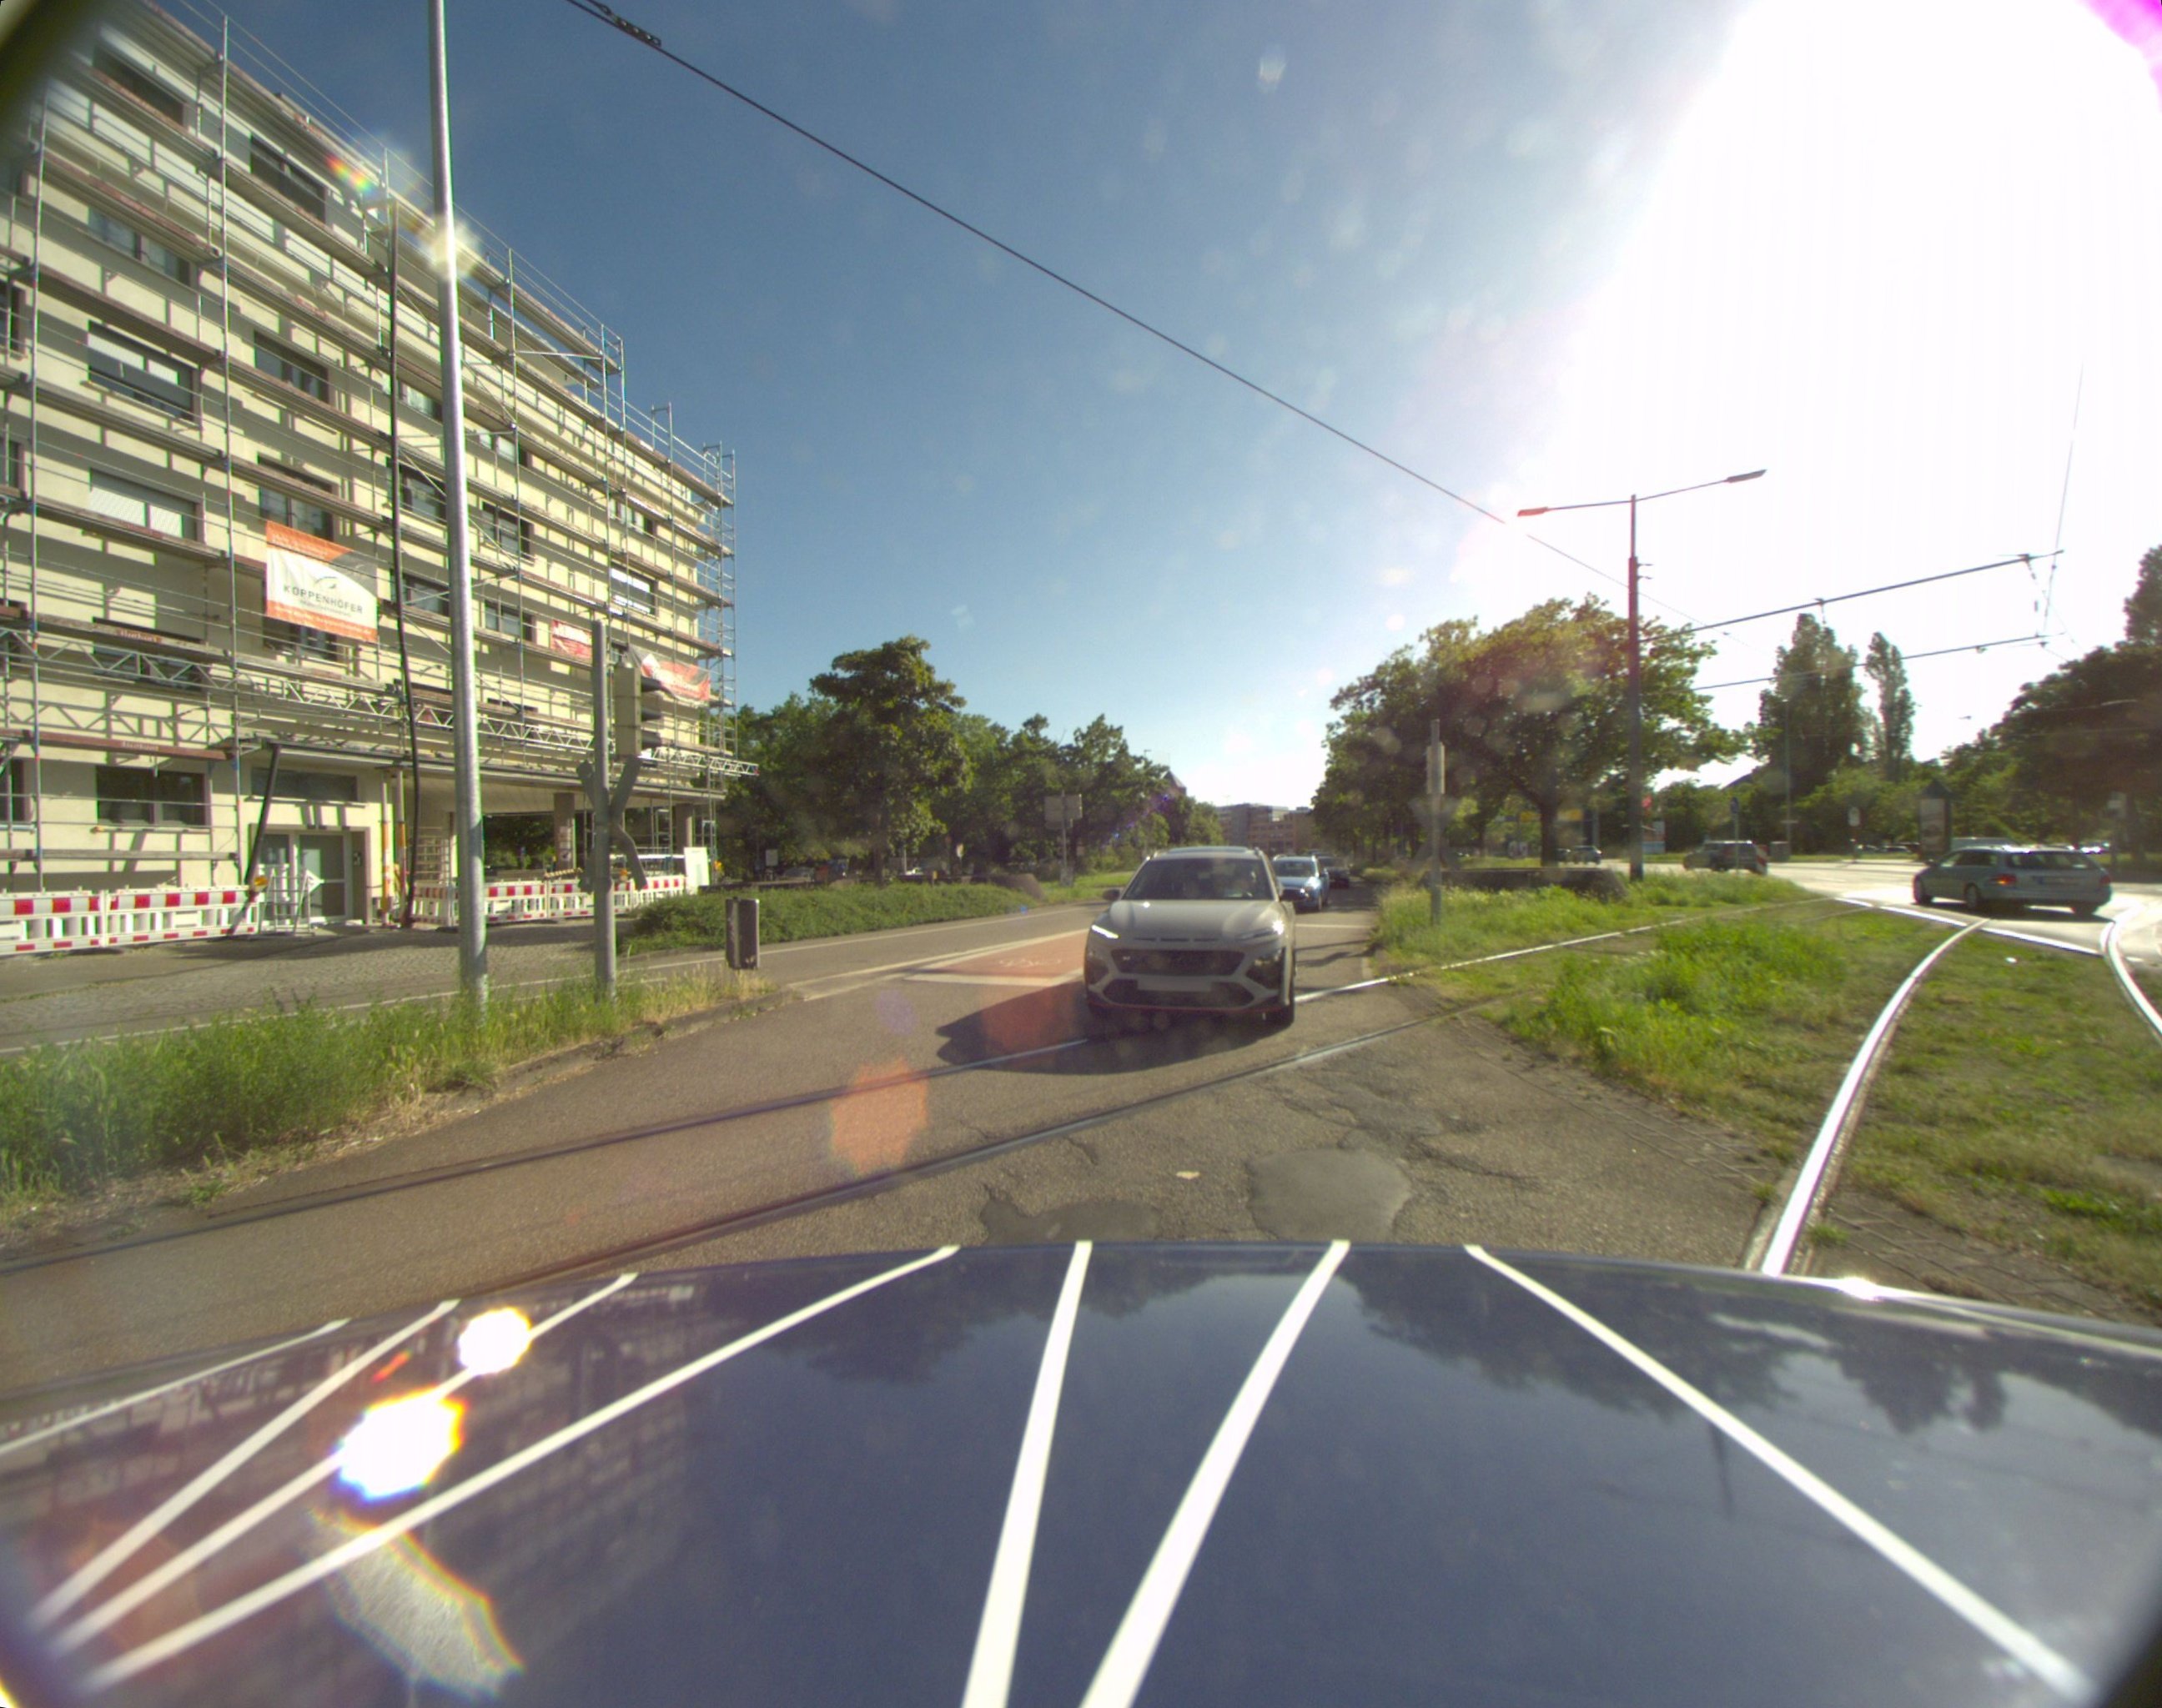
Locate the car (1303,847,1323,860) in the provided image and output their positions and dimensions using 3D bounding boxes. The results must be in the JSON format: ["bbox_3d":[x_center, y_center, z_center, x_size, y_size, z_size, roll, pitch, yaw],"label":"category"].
[{"bbox_3d":[28.302,-0.085,92.626,1.742,1.539,4.007,-3,0,25],"label":"car"}]

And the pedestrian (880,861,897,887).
[{"bbox_3d":[-11.432,1.192,45.155,0.651,1.488,0.909,-1,0,7],"label":"pedestrian"}]

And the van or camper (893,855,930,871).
[{"bbox_3d":[-21.118,1.116,94.817,2.454,1.902,5.332,-1,0,11],"label":"van or camper"}]

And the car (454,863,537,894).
[{"bbox_3d":[-42.565,1.743,55.397,1.996,2.061,4.357,-1,0,18],"label":"car"}]

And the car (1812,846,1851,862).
[{"bbox_3d":[68.343,-0.021,69.249,1.817,1.440,4.008,-1,0,35],"label":"car"}]

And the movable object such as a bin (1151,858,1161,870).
[{"bbox_3d":[6.533,0.874,66.101,0.727,1.024,0.579,-1,0,15],"label":"movable object such as a bin"}]

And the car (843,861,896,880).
[{"bbox_3d":[-16.256,1.268,58.444,3.582,1.307,1.624,-1,2,10],"label":"car"}]

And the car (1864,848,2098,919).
[{"bbox_3d":[20.695,0.613,17.803,1.730,1.433,4.892,-3,-1,27],"label":"car"}]

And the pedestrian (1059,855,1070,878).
[{"bbox_3d":[-1.168,0.899,54.776,0.623,1.625,0.552,-1,1,16],"label":"pedestrian"}]

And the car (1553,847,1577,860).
[{"bbox_3d":[52.450,-0.067,82.374,1.664,1.440,4.409,-1,0,25],"label":"car"}]

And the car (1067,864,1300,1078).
[{"bbox_3d":[1.315,0.916,7.863,1.778,1.542,3.985,-1,0,16],"label":"car"}]

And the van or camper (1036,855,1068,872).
[{"bbox_3d":[-3.256,1.044,87.497,2.454,1.902,5.332,-1,0,11],"label":"van or camper"}]

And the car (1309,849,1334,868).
[{"bbox_3d":[18.688,0.302,58.876,1.779,1.397,4.005,-1,0,19],"label":"car"}]

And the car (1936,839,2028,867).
[{"bbox_3d":[67.703,-0.099,57.135,5.000,2.002,2.237,-1,0,-10],"label":"car"}]

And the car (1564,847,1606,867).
[{"bbox_3d":[42.367,0.221,63.966,1.995,1.553,4.393,-1,0,20],"label":"car"}]

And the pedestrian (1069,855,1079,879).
[{"bbox_3d":[-0.485,0.929,55.062,0.603,1.690,0.410,-1,1,15],"label":"pedestrian"}]

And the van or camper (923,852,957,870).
[{"bbox_3d":[-17.420,0.841,94.157,2.455,2.146,5.331,-1,0,10],"label":"van or camper"}]

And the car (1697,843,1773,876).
[{"bbox_3d":[33.485,0.250,39.059,1.754,1.604,4.731,-1,0,25],"label":"car"}]

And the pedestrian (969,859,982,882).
[{"bbox_3d":[-7.357,1.148,53.002,0.704,1.610,0.567,-2,1,10],"label":"pedestrian"}]

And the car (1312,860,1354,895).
[{"bbox_3d":[11.782,1.056,35.379,1.675,1.499,3.954,-1,0,21],"label":"car"}]

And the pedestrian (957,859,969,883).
[{"bbox_3d":[-8.239,1.188,53.159,0.598,1.610,0.567,-2,1,10],"label":"pedestrian"}]

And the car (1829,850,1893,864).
[{"bbox_3d":[66.593,0.211,64.957,1.819,1.122,4.003,-1,0,9],"label":"car"}]

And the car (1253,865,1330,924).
[{"bbox_3d":[6.100,1.080,21.735,1.708,1.455,4.006,-1,0,21],"label":"car"}]

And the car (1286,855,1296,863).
[{"bbox_3d":[41.579,0.897,150.494,1.996,1.524,4.005,-1,0,15],"label":"car"}]

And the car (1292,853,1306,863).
[{"bbox_3d":[31.311,0.578,109.221,1.827,1.464,4.005,-1,0,16],"label":"car"}]

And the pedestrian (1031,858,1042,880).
[{"bbox_3d":[-3.132,1.059,53.805,0.528,1.509,0.614,-1,1,18],"label":"pedestrian"}]

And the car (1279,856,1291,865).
[{"bbox_3d":[33.666,1.058,125.360,1.996,1.524,4.005,-1,0,15],"label":"car"}]
